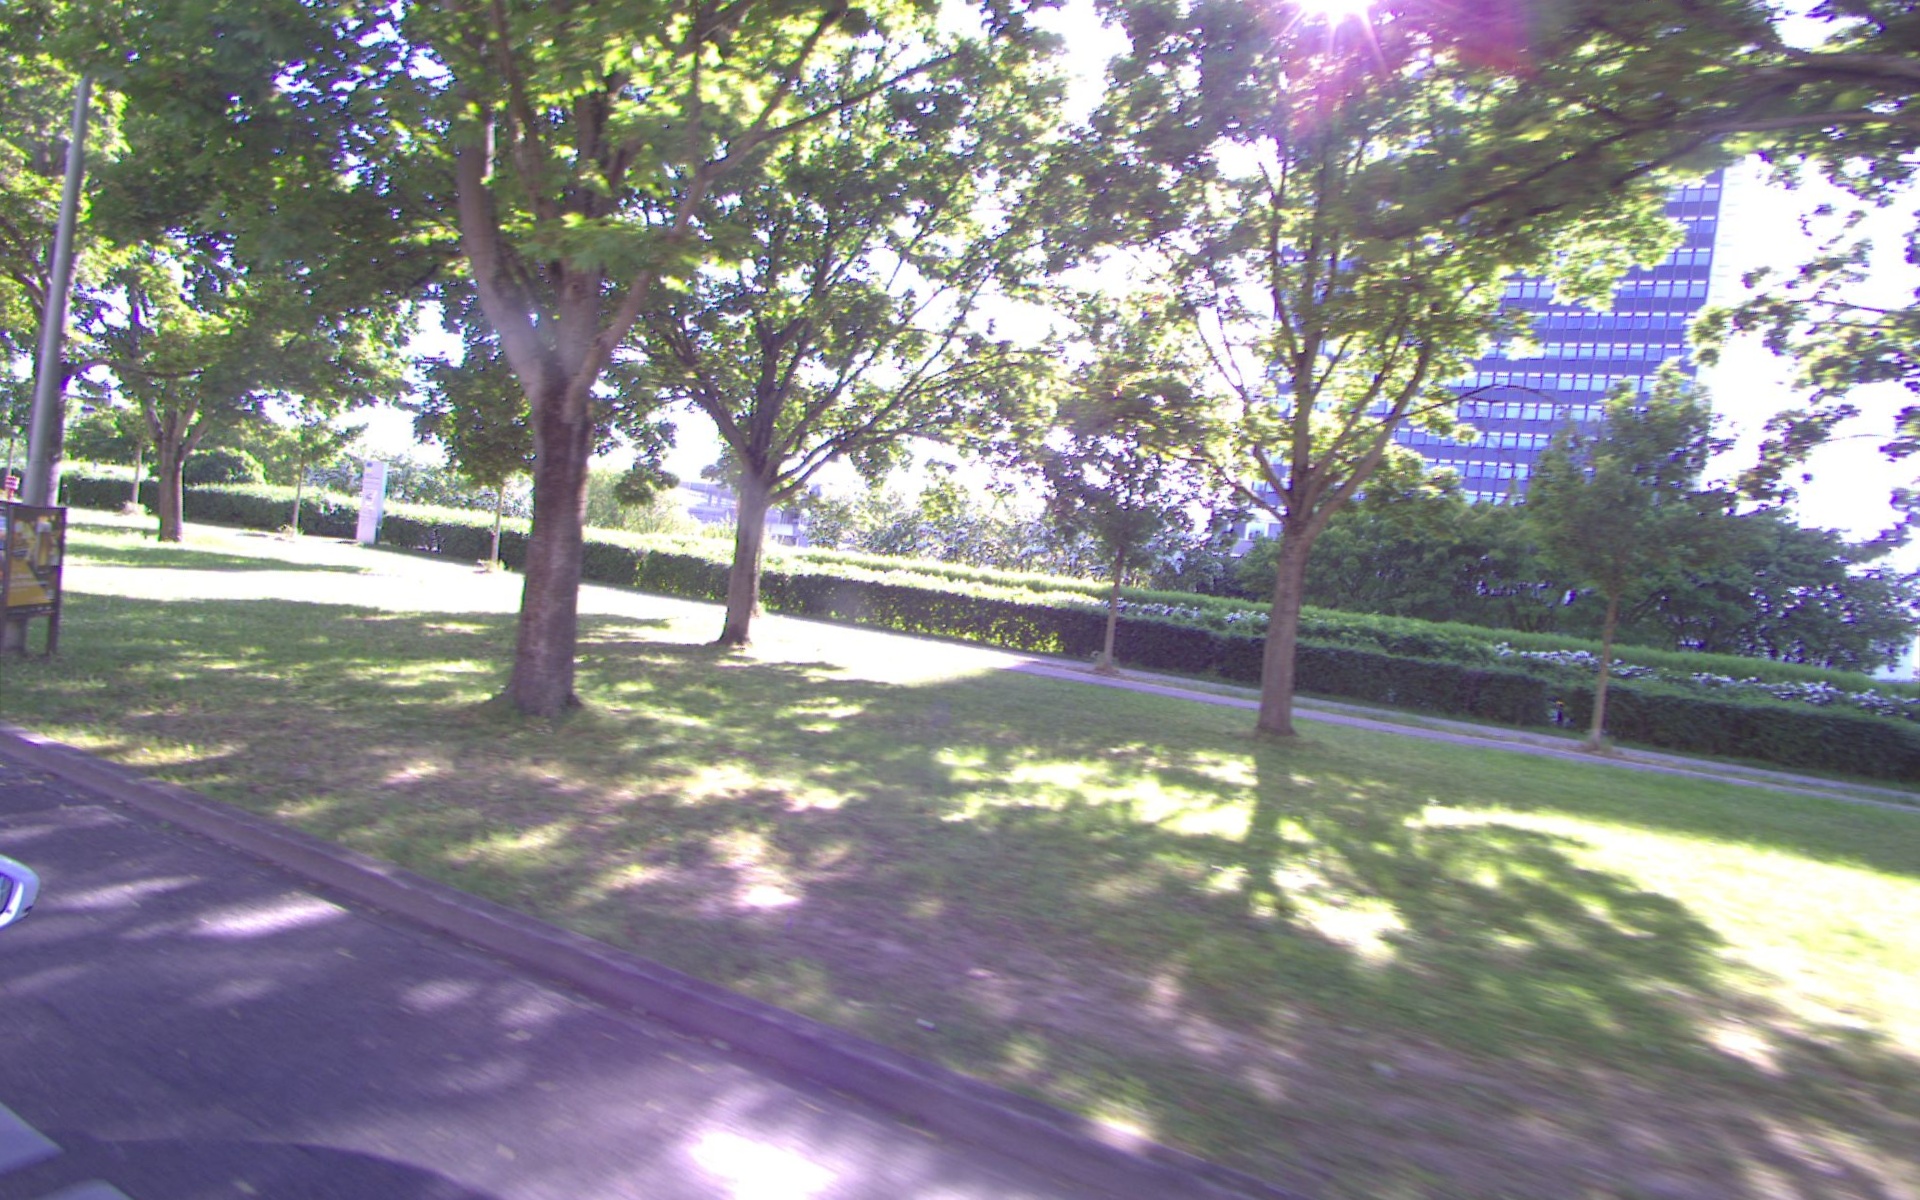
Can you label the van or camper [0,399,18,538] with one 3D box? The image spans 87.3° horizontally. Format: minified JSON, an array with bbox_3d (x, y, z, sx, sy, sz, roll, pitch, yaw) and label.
[{"bbox_3d":[-23.250,-3.055,20.055,2.535,2.967,6.075,7,2,35],"label":"van or camper"}]
